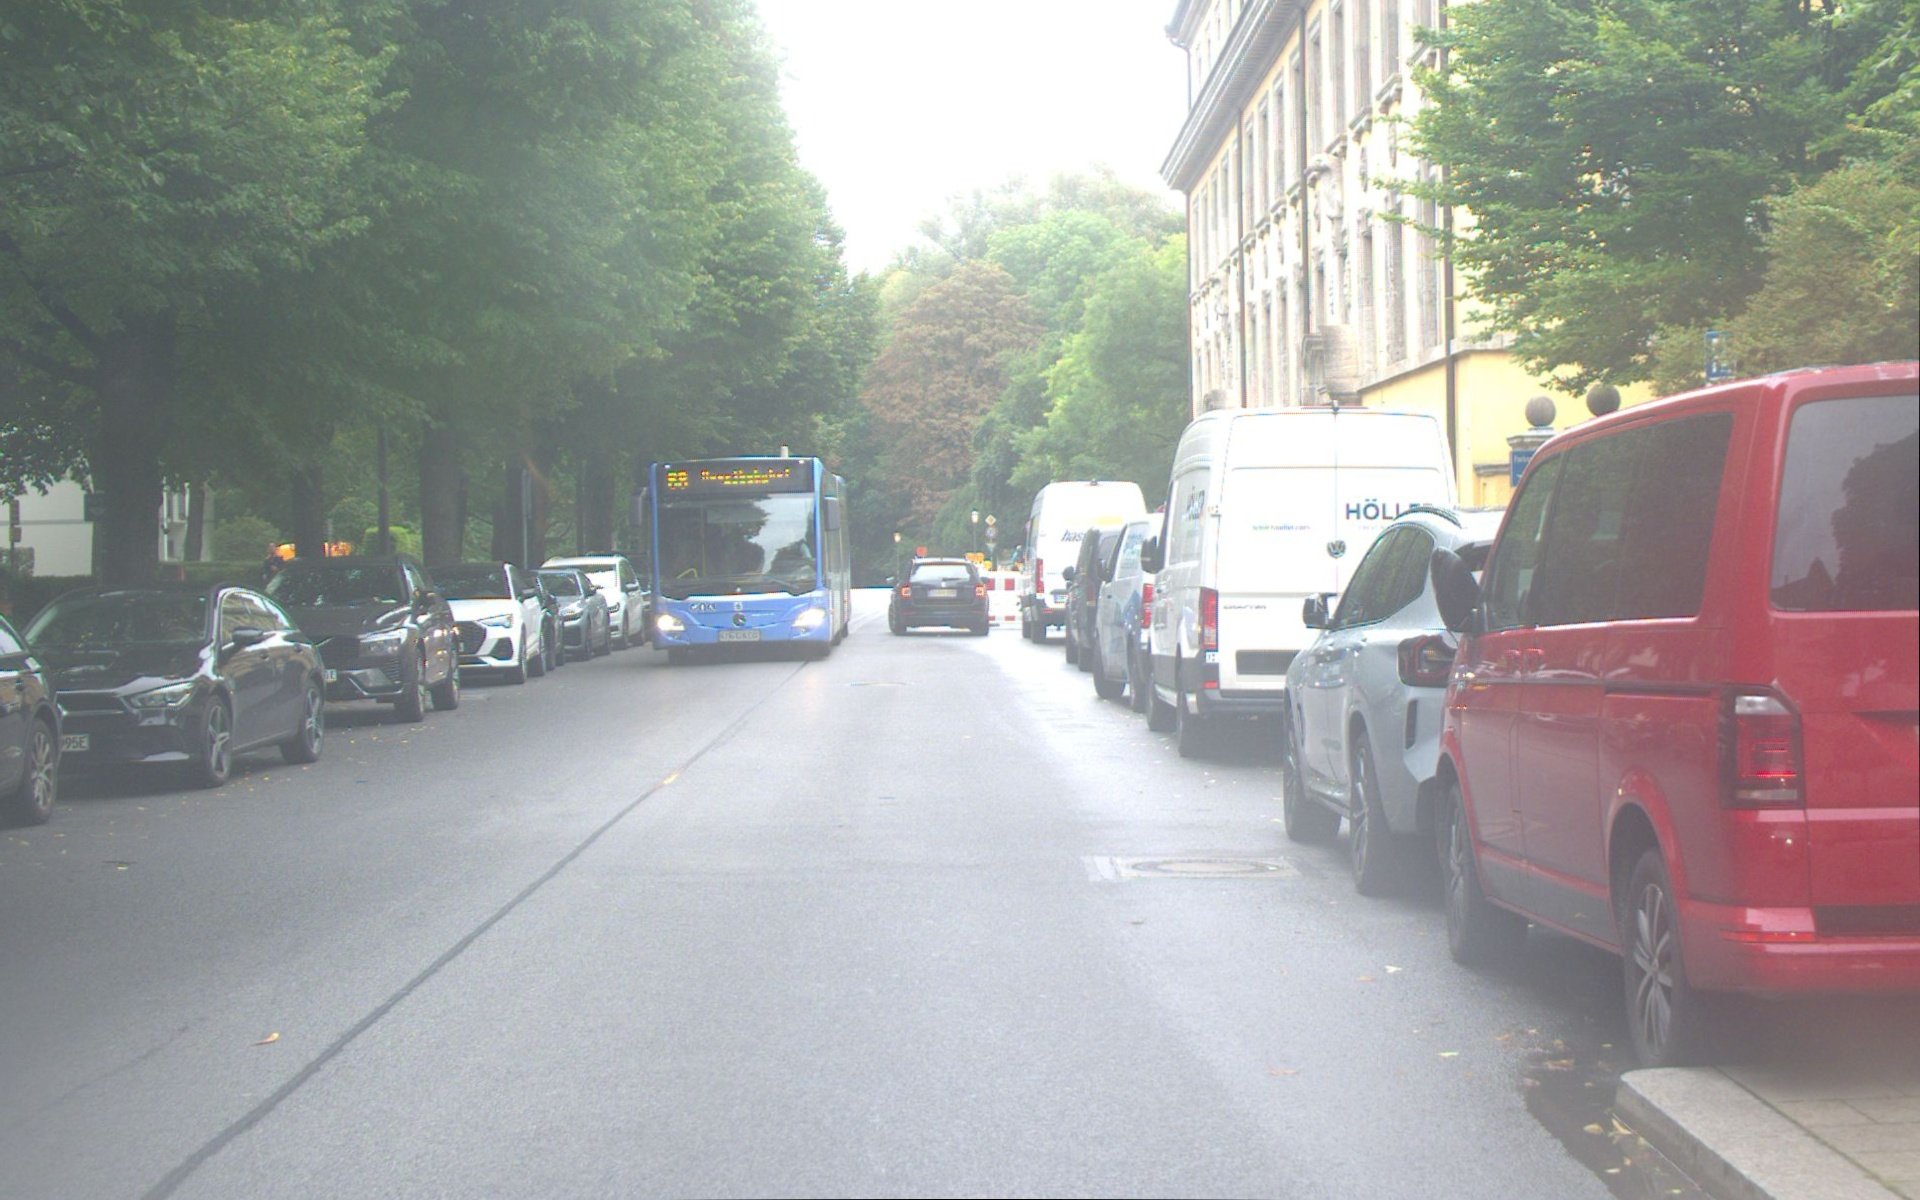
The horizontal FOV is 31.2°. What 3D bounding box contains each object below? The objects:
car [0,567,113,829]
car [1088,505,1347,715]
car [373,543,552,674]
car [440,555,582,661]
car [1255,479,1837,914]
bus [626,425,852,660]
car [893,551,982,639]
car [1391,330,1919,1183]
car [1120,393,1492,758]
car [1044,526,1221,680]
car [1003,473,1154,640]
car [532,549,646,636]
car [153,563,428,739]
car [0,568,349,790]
[{"bbox_3d":[-6.283,0.584,19.442,1.790,1.433,4.578,-1,1,0],"label":"car"},{"bbox_3d":[2.438,0.061,33.816,2.013,1.900,5.164,0,1,-2],"label":"car"},{"bbox_3d":[-6.445,0.088,44.938,1.784,1.592,4.585,-1,0,-2],"label":"car"},{"bbox_3d":[-6.599,0.100,50.864,1.672,1.464,4.104,-1,0,-2],"label":"car"},{"bbox_3d":[2.545,0.361,16.070,1.858,1.735,4.603,0,1,-1],"label":"car"},{"bbox_3d":[-3.369,-0.789,57.216,2.859,3.228,18.427,-1,0,-1],"label":"bus"},{"bbox_3d":[-0.399,-0.115,64.556,1.577,1.578,4.044,-1,1,1],"label":"car"},{"bbox_3d":[2.697,0.351,10.675,1.858,1.961,5.445,-1,0,-2],"label":"car"},{"bbox_3d":[2.518,-0.165,26.534,2.095,2.479,5.740,-1,0,-2],"label":"car"},{"bbox_3d":[2.199,0.021,45.020,1.870,1.862,4.987,-1,0,-2],"label":"car"},{"bbox_3d":[1.962,-0.726,59.448,2.054,2.664,7.615,-1,0,-2],"label":"car"},{"bbox_3d":[-6.533,-0.145,60.802,1.672,1.464,4.104,-1,0,-2],"label":"car"},{"bbox_3d":[-5.950,0.432,30.951,1.790,1.449,3.949,-1,0,-2],"label":"car"},{"bbox_3d":[-5.693,0.529,25.000,1.790,1.433,4.551,-1,0,-2],"label":"car"}]
